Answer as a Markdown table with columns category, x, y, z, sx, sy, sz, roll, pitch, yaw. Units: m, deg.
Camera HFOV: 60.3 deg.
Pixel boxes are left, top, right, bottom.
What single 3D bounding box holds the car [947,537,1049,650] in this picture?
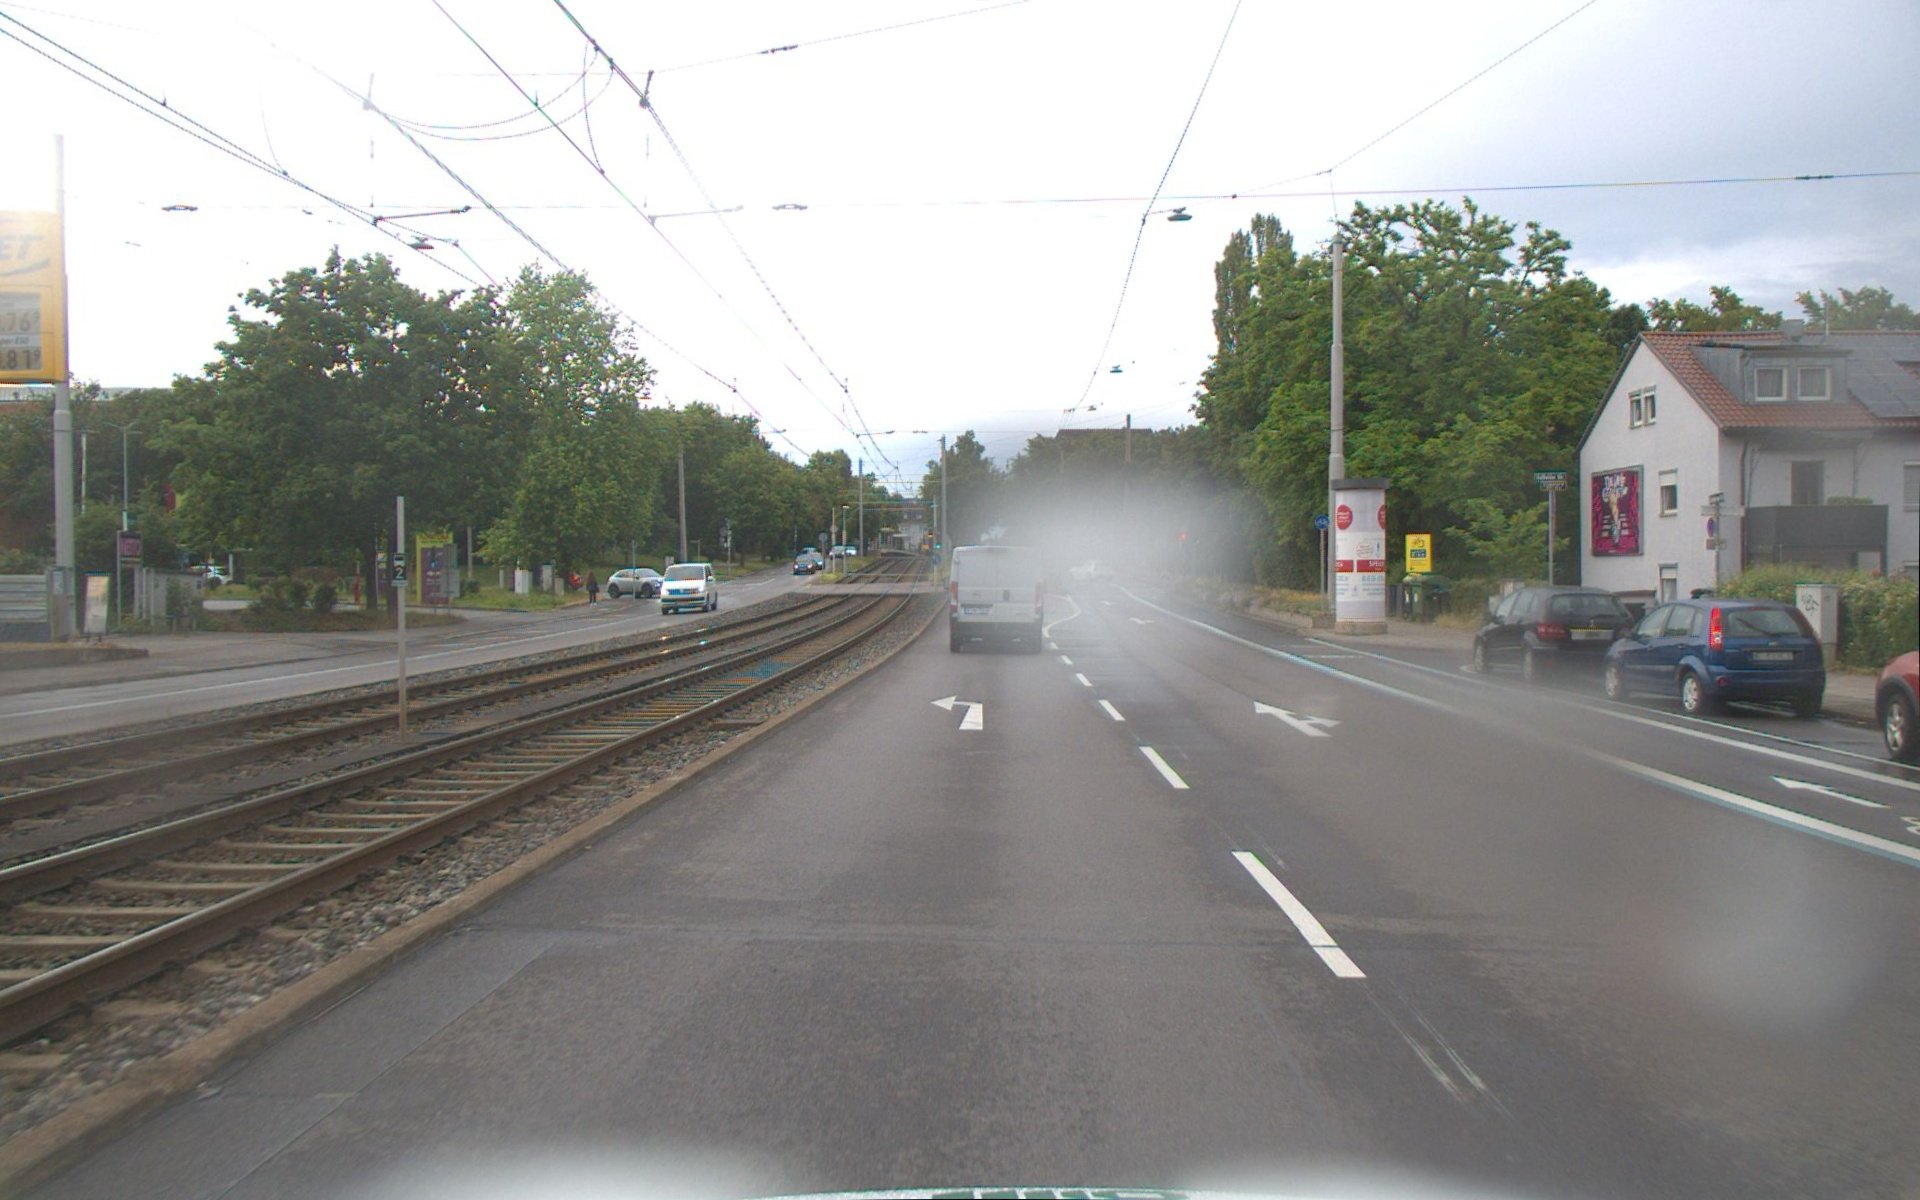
| category | x | y | z | sx | sy | sz | roll | pitch | yaw |
| --- | --- | --- | --- | --- | --- | --- | --- | --- | --- |
| car | 0.807 | -0.180 | 36.953 | 2.102 | 2.323 | 5.063 | 0 | 1 | 0 |

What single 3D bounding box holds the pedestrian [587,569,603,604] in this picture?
| category | x | y | z | sx | sy | sz | roll | pitch | yaw |
| --- | --- | --- | --- | --- | --- | --- | --- | --- | --- |
| pedestrian | -16.838 | -0.617 | 76.361 | 0.579 | 1.558 | 0.668 | 1 | -1 | 0 |

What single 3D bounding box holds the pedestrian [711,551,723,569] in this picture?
| category | x | y | z | sx | sy | sz | roll | pitch | yaw |
| --- | --- | --- | --- | --- | --- | --- | --- | --- | --- |
| pedestrian | -21.316 | -3.518 | 145.336 | 0.994 | 1.628 | 1.039 | -1 | 2 | -6 |

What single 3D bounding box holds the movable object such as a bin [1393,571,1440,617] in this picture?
| category | x | y | z | sx | sy | sz | roll | pitch | yaw |
| --- | --- | --- | --- | --- | --- | --- | --- | --- | --- |
| movable object such as a bin | 14.638 | -0.198 | 53.036 | 1.160 | 1.443 | 1.134 | 1 | 0 | -1 |

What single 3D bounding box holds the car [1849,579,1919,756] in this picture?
| category | x | y | z | sx | sy | sz | roll | pitch | yaw |
| --- | --- | --- | --- | --- | --- | --- | --- | --- | --- |
| car | 9.859 | 0.656 | 14.659 | 1.799 | 1.656 | 4.100 | 1 | 1 | 1 |

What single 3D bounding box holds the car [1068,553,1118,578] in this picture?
| category | x | y | z | sx | sy | sz | roll | pitch | yaw |
| --- | --- | --- | --- | --- | --- | --- | --- | --- | --- |
| car | 8.986 | -2.323 | 111.996 | 1.682 | 1.548 | 3.762 | 0 | 3 | -25 |

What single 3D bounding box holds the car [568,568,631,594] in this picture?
| category | x | y | z | sx | sy | sz | roll | pitch | yaw |
| --- | --- | --- | --- | --- | --- | --- | --- | --- | --- |
| car | -23.390 | -1.224 | 107.377 | 3.893 | 1.560 | 1.839 | 1 | 0 | -10 |

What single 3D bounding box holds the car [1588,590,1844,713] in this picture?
| category | x | y | z | sx | sy | sz | roll | pitch | yaw |
| --- | --- | --- | --- | --- | --- | --- | --- | --- | --- |
| car | 10.062 | 0.623 | 22.348 | 1.633 | 1.469 | 3.929 | 1 | 1 | 0 |

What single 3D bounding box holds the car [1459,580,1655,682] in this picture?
| category | x | y | z | sx | sy | sz | roll | pitch | yaw |
| --- | --- | --- | --- | --- | --- | --- | --- | --- | --- |
| car | 10.120 | 0.462 | 28.397 | 1.799 | 1.560 | 4.440 | 1 | 1 | 1 |

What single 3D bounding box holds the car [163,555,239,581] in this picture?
| category | x | y | z | sx | sy | sz | roll | pitch | yaw |
| --- | --- | --- | --- | --- | --- | --- | --- | --- | --- |
| car | -49.255 | -2.057 | 107.396 | 4.114 | 1.560 | 1.838 | 1 | 0 | -12 |

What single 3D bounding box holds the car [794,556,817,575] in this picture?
| category | x | y | z | sx | sy | sz | roll | pitch | yaw |
| --- | --- | --- | --- | --- | --- | --- | --- | --- | --- |
| car | -12.501 | -2.790 | 134.197 | 1.569 | 1.426 | 3.792 | 1 | 3 | -1 |

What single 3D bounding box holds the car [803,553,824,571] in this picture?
| category | x | y | z | sx | sy | sz | roll | pitch | yaw |
| --- | --- | --- | --- | --- | --- | --- | --- | --- | --- |
| car | -12.885 | -3.340 | 145.936 | 1.569 | 1.426 | 3.790 | -1 | -1 | -1 |

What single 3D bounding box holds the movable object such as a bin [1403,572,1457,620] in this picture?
| category | x | y | z | sx | sy | sz | roll | pitch | yaw |
| --- | --- | --- | --- | --- | --- | --- | --- | --- | --- |
| movable object such as a bin | 14.647 | -0.127 | 51.534 | 1.284 | 1.443 | 1.300 | 1 | 0 | -1 |

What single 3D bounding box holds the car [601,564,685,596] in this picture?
| category | x | y | z | sx | sy | sz | roll | pitch | yaw |
| --- | --- | --- | --- | --- | --- | --- | --- | --- | --- |
| car | -18.171 | -1.139 | 94.682 | 4.662 | 1.678 | 1.994 | -1 | 2 | 35 |

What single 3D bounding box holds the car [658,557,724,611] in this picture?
| category | x | y | z | sx | sy | sz | roll | pitch | yaw |
| --- | --- | --- | --- | --- | --- | --- | --- | --- | --- |
| car | -10.981 | -0.686 | 67.842 | 1.954 | 2.048 | 5.058 | -3 | 1 | -2 |

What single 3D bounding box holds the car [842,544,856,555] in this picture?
| category | x | y | z | sx | sy | sz | roll | pitch | yaw |
| --- | --- | --- | --- | --- | --- | --- | --- | --- | --- |
| car | -14.474 | -6.599 | 216.007 | 1.569 | 1.426 | 3.792 | 1 | 3 | -1 |
